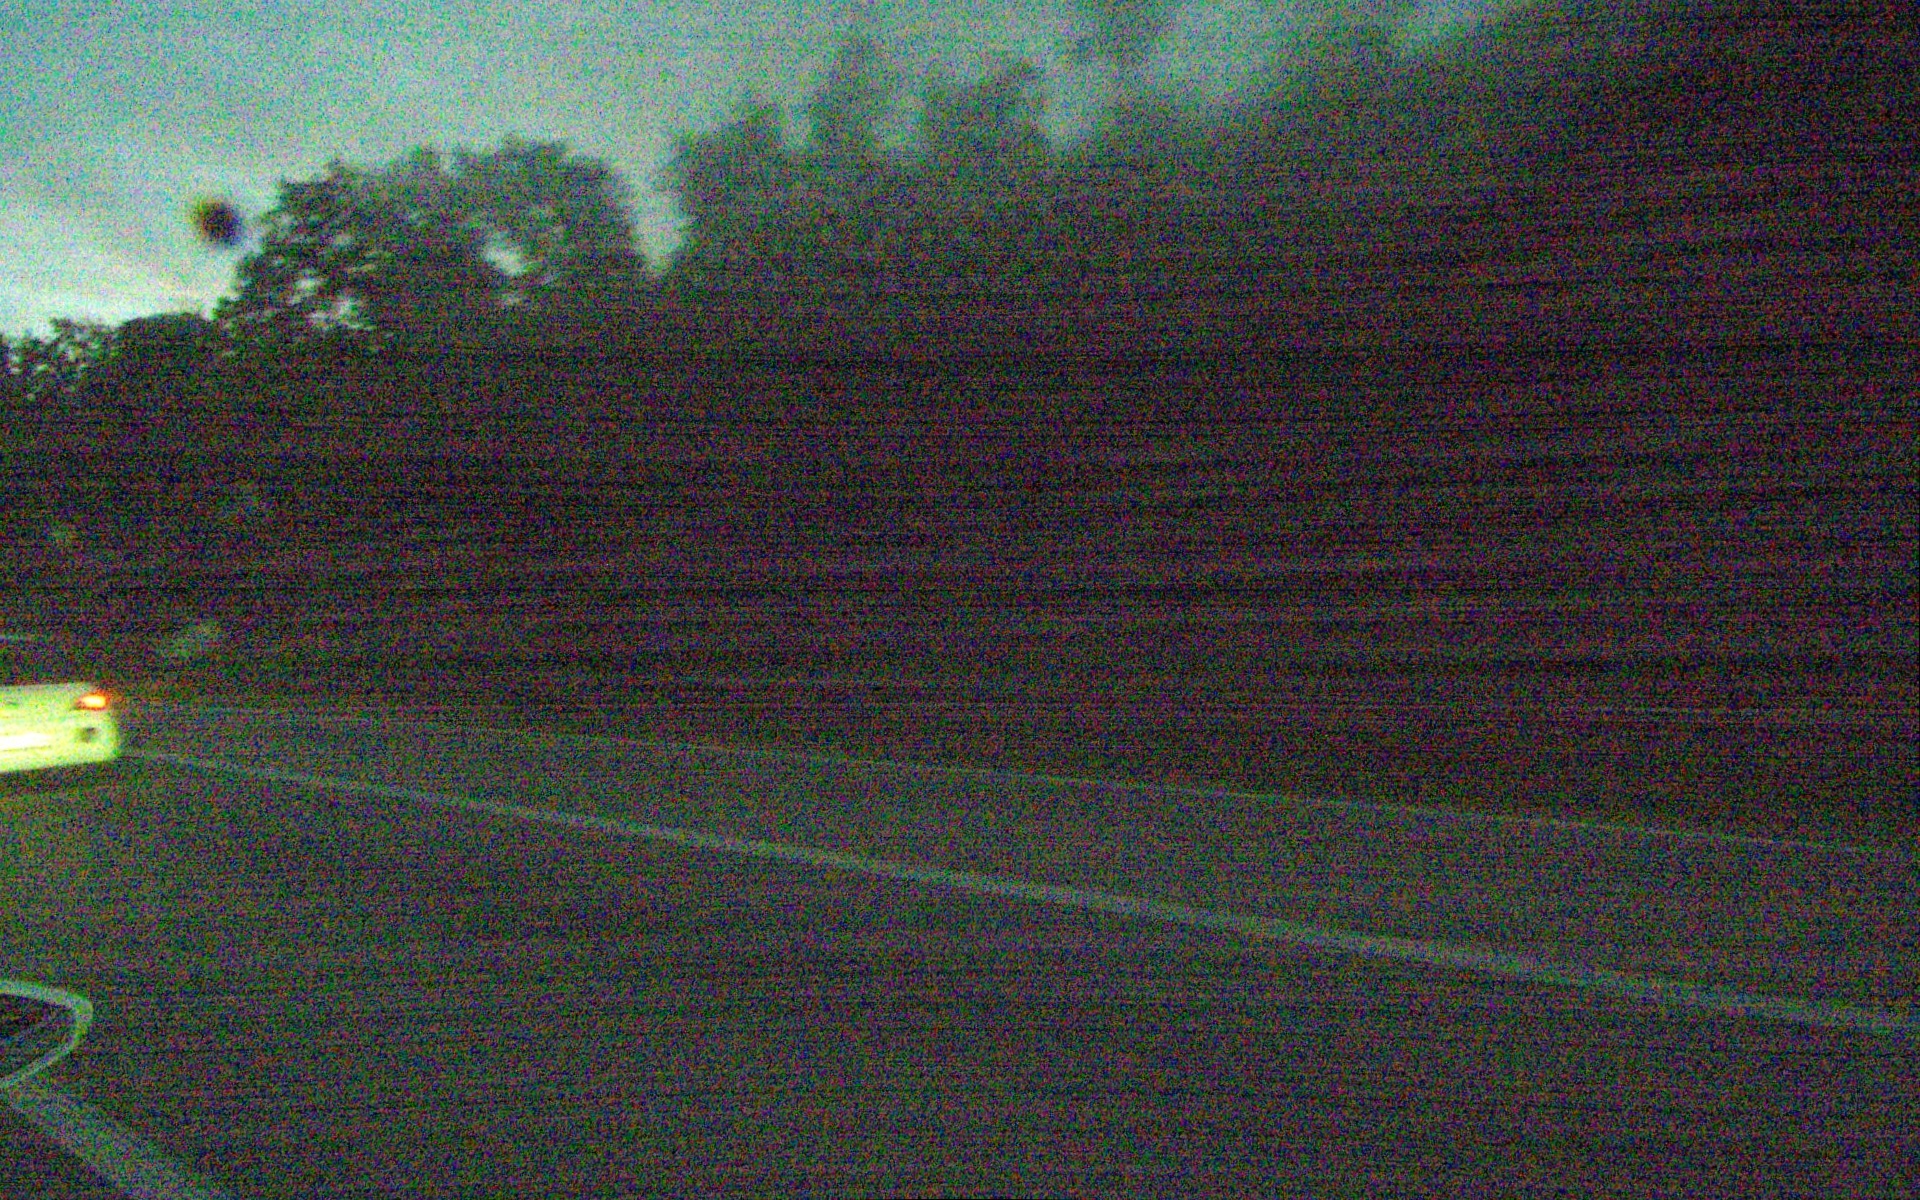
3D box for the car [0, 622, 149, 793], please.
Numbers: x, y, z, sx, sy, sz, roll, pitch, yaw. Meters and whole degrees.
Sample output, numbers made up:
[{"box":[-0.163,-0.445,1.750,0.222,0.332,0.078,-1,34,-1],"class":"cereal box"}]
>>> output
[{"box":[-10.125,0.995,10.050,4.336,1.494,1.822,-1,-2,32],"class":"car"}]
